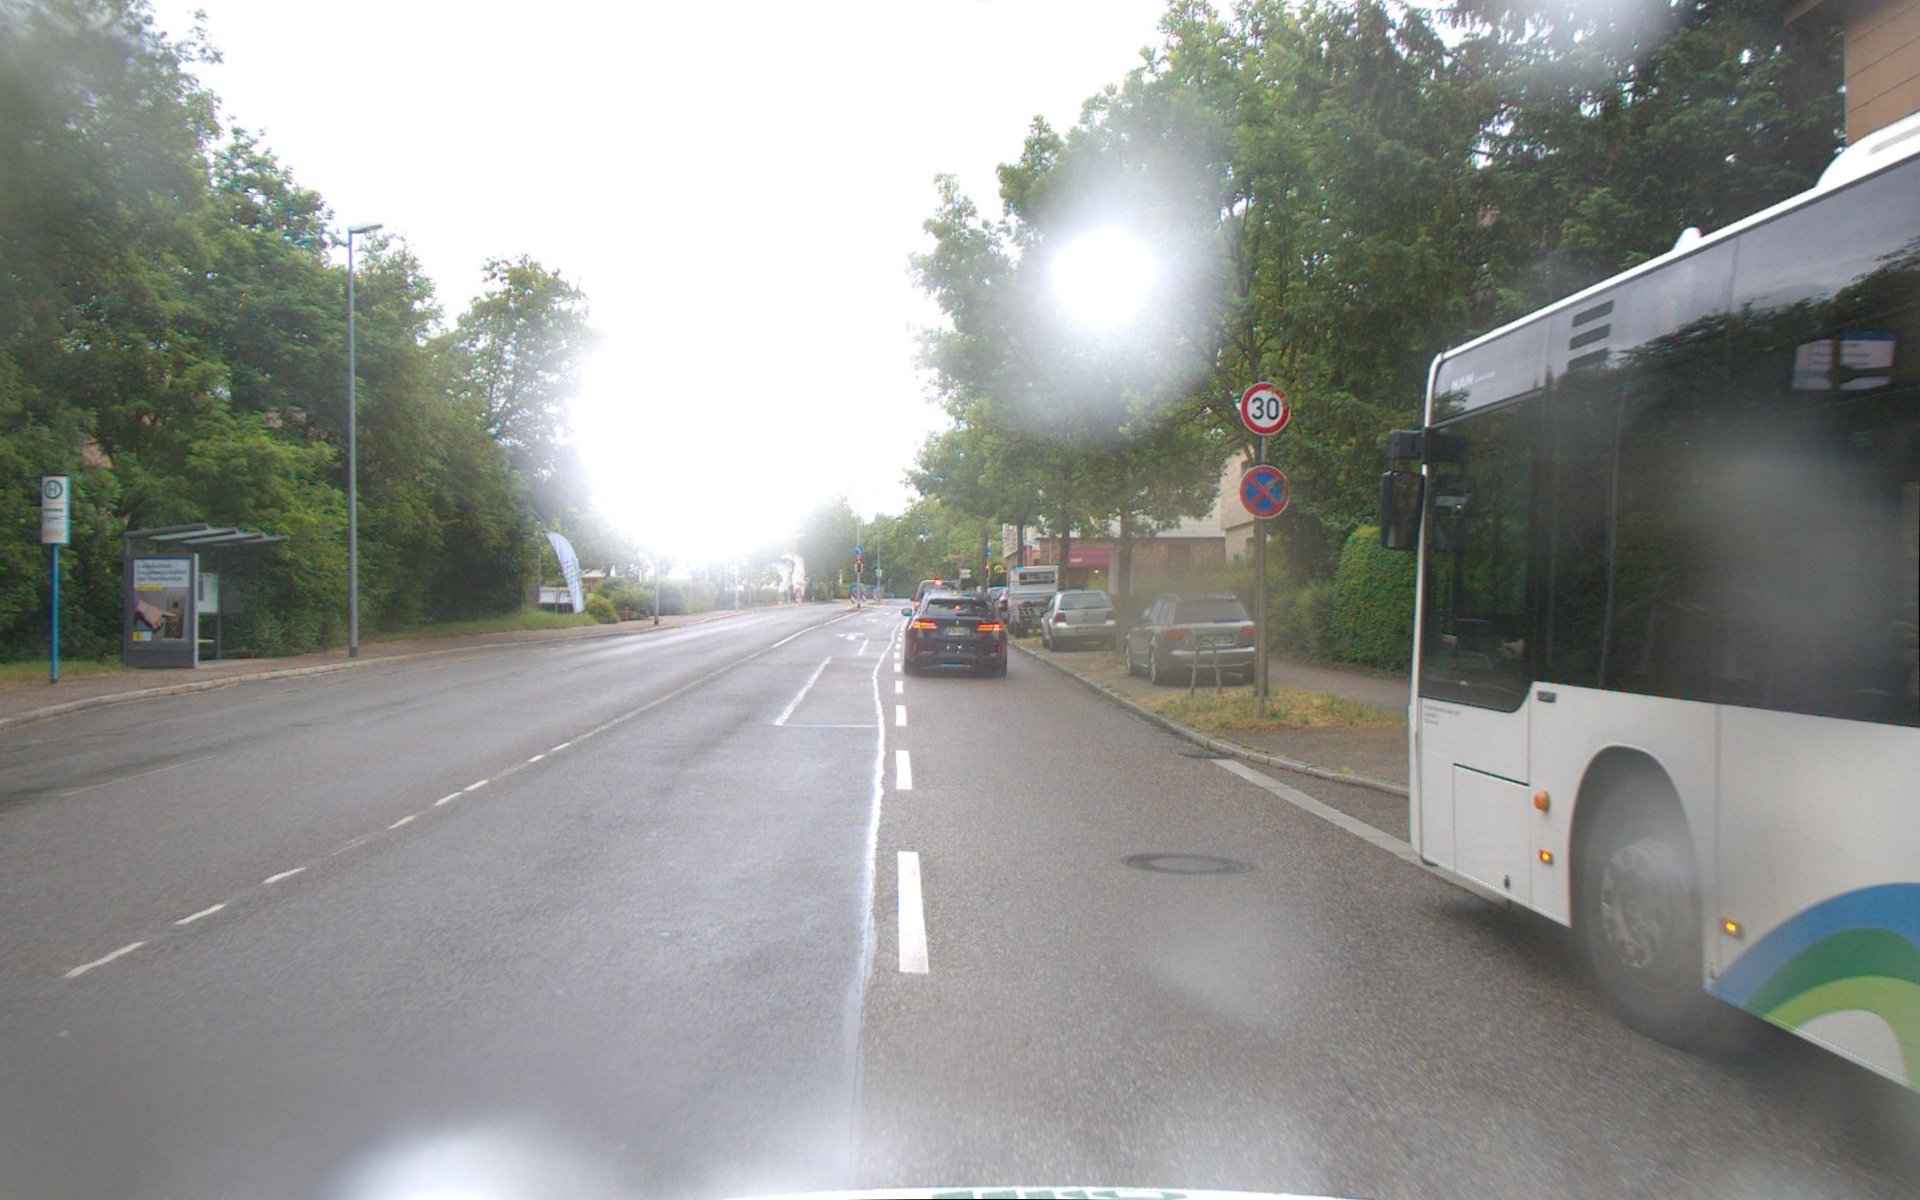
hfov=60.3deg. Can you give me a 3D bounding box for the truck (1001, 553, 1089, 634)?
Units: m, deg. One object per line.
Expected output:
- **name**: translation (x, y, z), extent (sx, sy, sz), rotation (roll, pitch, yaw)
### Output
- **truck**: translation (2.580, -0.225, 52.020), extent (2.039, 2.260, 6.499), rotation (-3, 1, -3)

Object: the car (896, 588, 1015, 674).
- **car**: translation (-0.166, 0.531, 31.122), extent (2.023, 1.471, 4.480), rotation (1, 0, -3)

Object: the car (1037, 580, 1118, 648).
- **car**: translation (2.864, 0.309, 40.929), extent (1.569, 1.461, 4.021), rotation (-3, 1, -1)

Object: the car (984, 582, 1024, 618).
- **car**: translation (2.066, -0.024, 78.774), extent (1.552, 1.516, 3.625), rotation (-3, 1, -3)

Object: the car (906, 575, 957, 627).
- **car**: translation (-1.062, 0.011, 60.474), extent (1.748, 1.849, 3.998), rotation (0, 1, -3)

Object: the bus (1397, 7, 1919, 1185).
- **bus**: translation (3.726, -0.003, 3.854), extent (2.505, 3.011, 9.445), rotation (0, 1, -3)

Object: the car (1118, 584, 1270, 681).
- **car**: translation (3.786, 0.471, 27.440), extent (1.654, 1.414, 4.497), rotation (-2, 1, -3)

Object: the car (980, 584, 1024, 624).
- **car**: translation (1.740, 0.154, 69.413), extent (1.572, 1.497, 3.855), rotation (-3, 1, -1)

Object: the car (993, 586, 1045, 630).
- **car**: translation (2.225, 0.271, 63.329), extent (1.679, 1.524, 4.182), rotation (-3, 1, -1)
